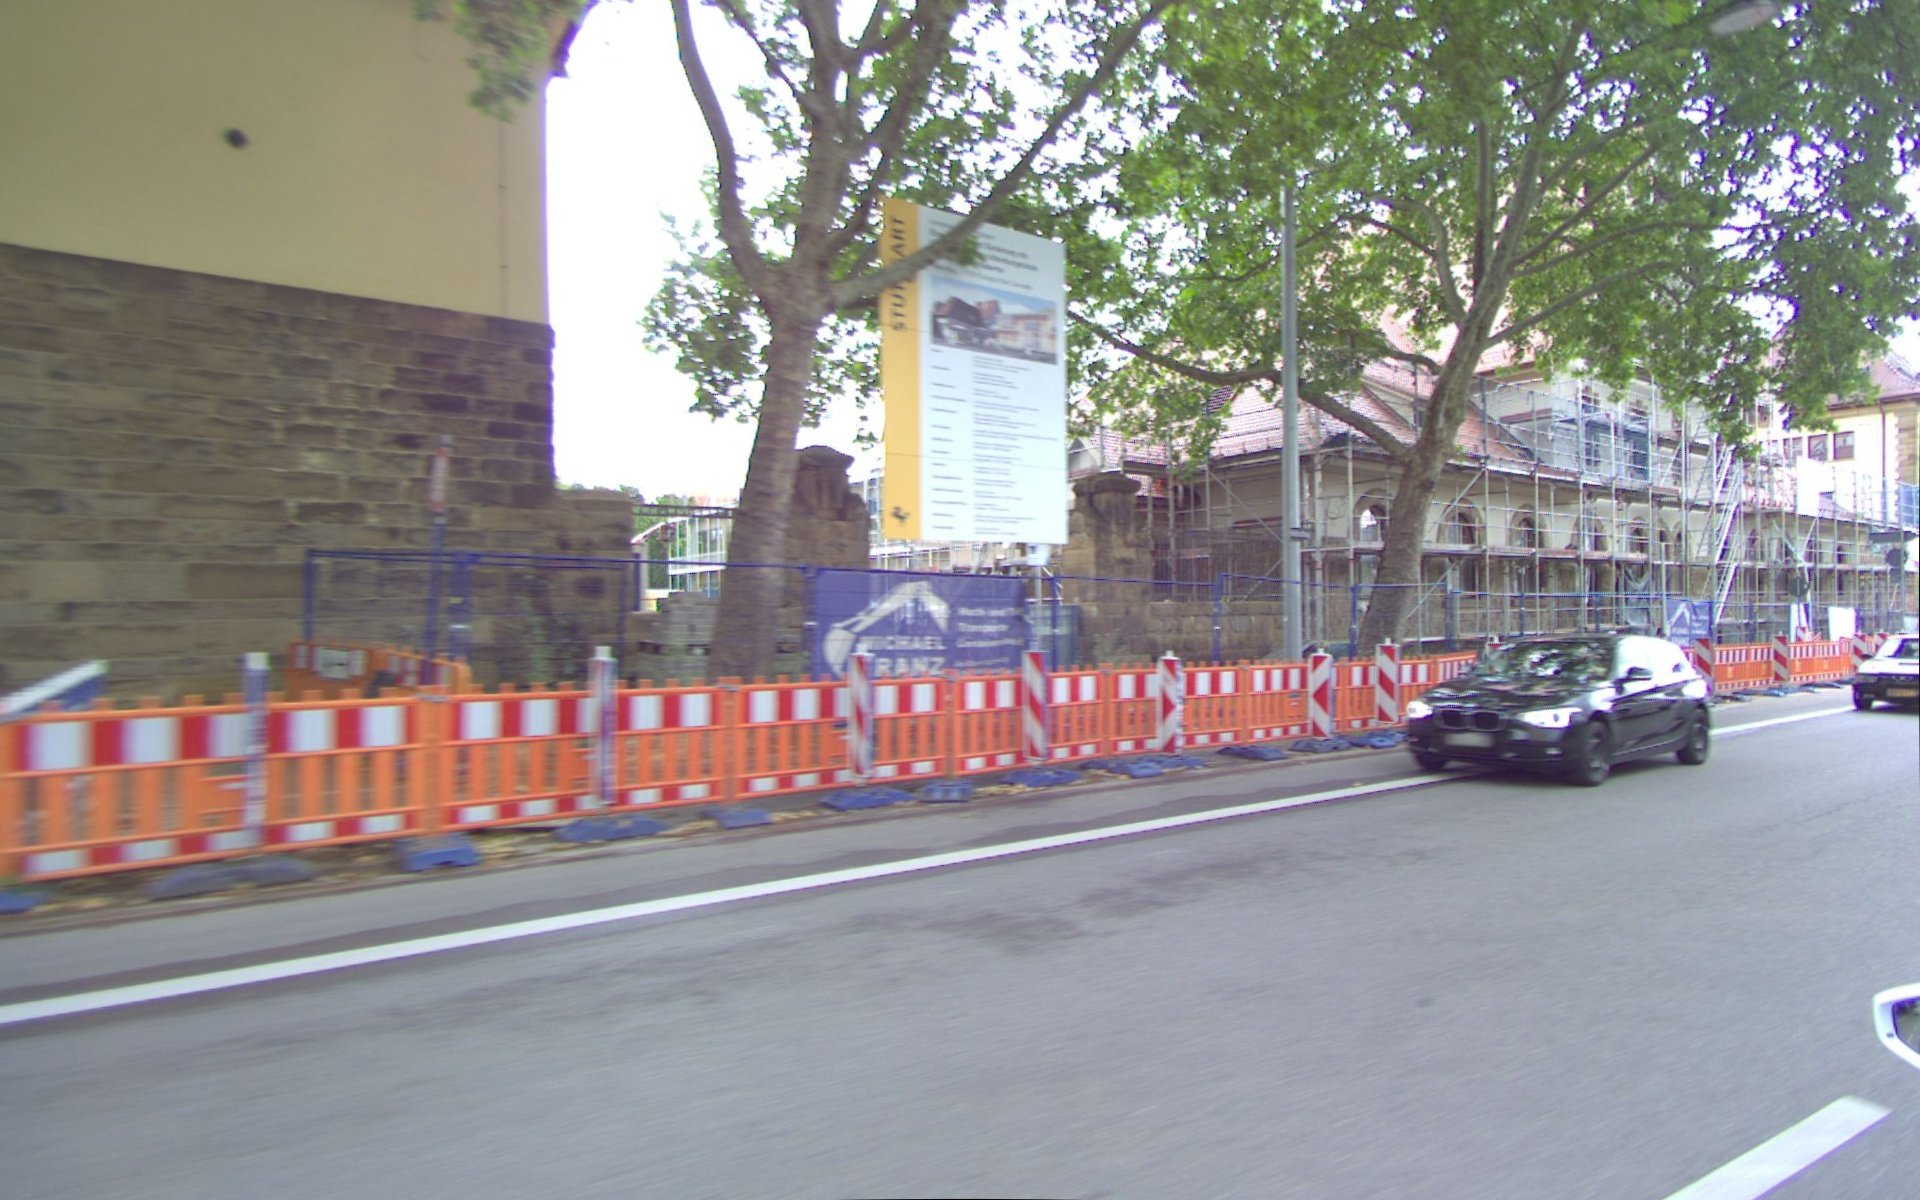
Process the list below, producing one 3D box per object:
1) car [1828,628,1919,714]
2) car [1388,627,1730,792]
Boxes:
[{"bbox_3d":[18.202,1.291,18.963,4.592,1.477,1.789,2,-2,-36],"label":"car"},{"bbox_3d":[6.553,1.034,10.824,4.209,1.444,1.687,2,-2,-36],"label":"car"}]
